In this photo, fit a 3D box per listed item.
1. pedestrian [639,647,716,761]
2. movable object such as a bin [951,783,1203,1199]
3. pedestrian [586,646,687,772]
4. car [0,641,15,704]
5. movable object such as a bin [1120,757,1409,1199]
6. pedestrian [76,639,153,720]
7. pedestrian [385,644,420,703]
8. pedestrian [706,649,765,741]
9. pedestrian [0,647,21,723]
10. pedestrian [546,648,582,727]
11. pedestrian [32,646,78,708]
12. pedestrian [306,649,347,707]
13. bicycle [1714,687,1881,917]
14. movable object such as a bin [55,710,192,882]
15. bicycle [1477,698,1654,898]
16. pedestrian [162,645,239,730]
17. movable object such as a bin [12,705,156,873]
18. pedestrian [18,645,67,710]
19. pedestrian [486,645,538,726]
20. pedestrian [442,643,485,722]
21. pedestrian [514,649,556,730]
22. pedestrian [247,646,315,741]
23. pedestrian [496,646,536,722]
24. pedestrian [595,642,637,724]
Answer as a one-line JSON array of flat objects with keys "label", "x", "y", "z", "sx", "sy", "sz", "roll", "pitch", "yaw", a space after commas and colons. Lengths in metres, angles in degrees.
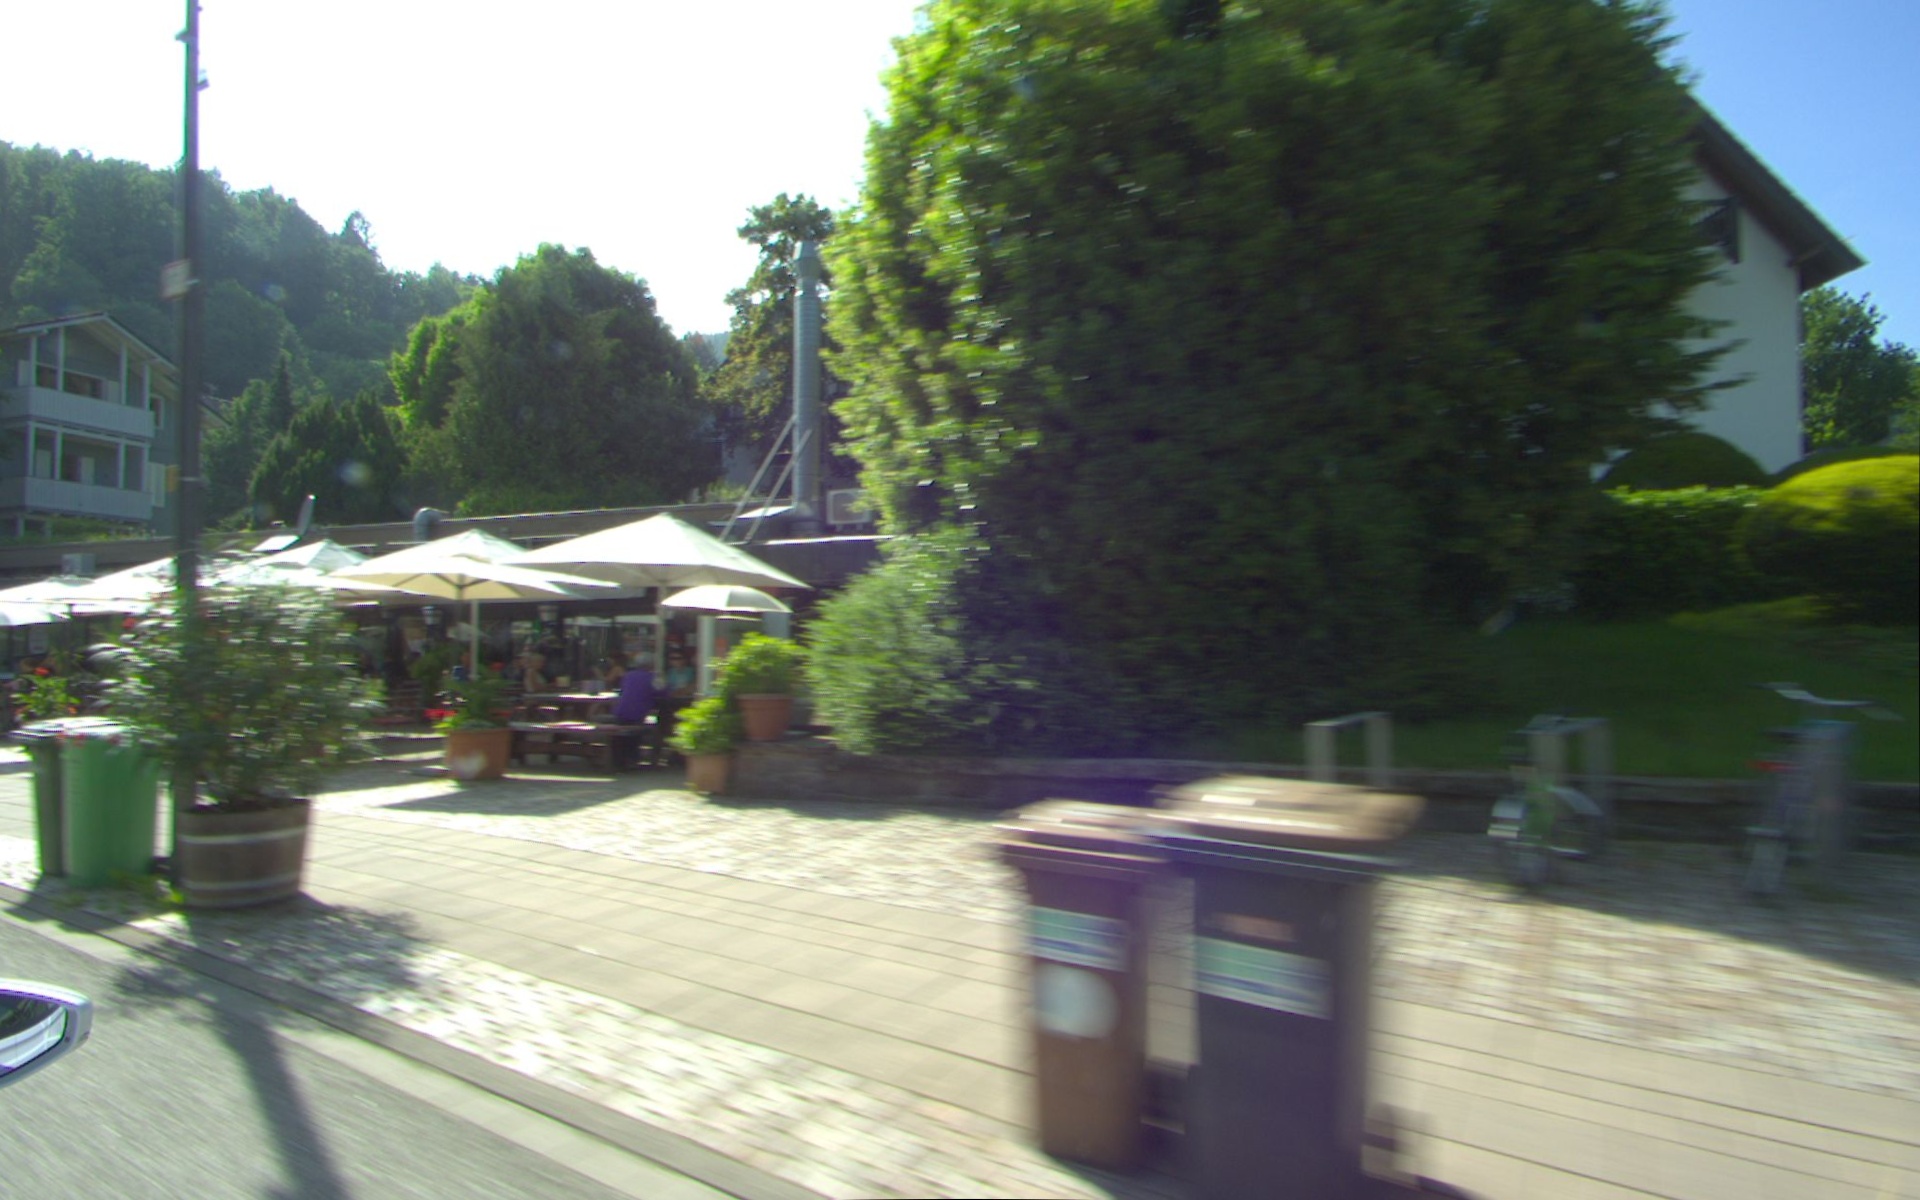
[{"label": "pedestrian", "x": -3.351, "y": 1.215, "z": 11.917, "sx": 0.634, "sy": 1.301, "sz": 0.649, "roll": 0, "pitch": 0, "yaw": 18}, {"label": "movable object such as a bin", "x": 0.346, "y": 1.050, "z": 2.883, "sx": 0.555, "sy": 0.924, "sz": 0.524, "roll": 0, "pitch": 0, "yaw": 32}, {"label": "pedestrian", "x": -3.546, "y": 1.167, "z": 11.029, "sx": 0.634, "sy": 1.301, "sz": 0.950, "roll": 0, "pitch": -1, "yaw": 17}, {"label": "car", "x": -22.954, "y": 1.585, "z": 21.007, "sx": 1.679, "sy": 1.396, "sz": 4.270, "roll": -1, "pitch": -2, "yaw": 20}, {"label": "movable object such as a bin", "x": 0.800, "y": 0.988, "z": 2.571, "sx": 0.563, "sy": 1.046, "sz": 0.655, "roll": 0, "pitch": 0, "yaw": 32}, {"label": "pedestrian", "x": -14.993, "y": 1.397, "z": 17.782, "sx": 0.797, "sy": 1.399, "sz": 0.700, "roll": 0, "pitch": -1, "yaw": -11}, {"label": "pedestrian", "x": -12.672, "y": 1.656, "z": 22.766, "sx": 0.678, "sy": 1.316, "sz": 0.634, "roll": 0, "pitch": -1, "yaw": -31}, {"label": "pedestrian", "x": -3.214, "y": 1.339, "z": 14.315, "sx": 0.691, "sy": 1.247, "sz": 0.505, "roll": -1, "pitch": 0, "yaw": 39}, {"label": "pedestrian", "x": -16.451, "y": 1.430, "z": 16.771, "sx": 0.687, "sy": 1.277, "sz": 0.812, "roll": 0, "pitch": -1, "yaw": 10}, {"label": "pedestrian", "x": -6.473, "y": 1.418, "z": 16.352, "sx": 0.464, "sy": 1.247, "sz": 0.389, "roll": 0, "pitch": 0, "yaw": -35}, {"label": "pedestrian", "x": -19.212, "y": 1.621, "z": 21.259, "sx": 0.694, "sy": 1.277, "sz": 0.804, "roll": 1, "pitch": -2, "yaw": -45}, {"label": "pedestrian", "x": -13.825, "y": 1.689, "z": 21.841, "sx": 0.680, "sy": 1.224, "sz": 0.695, "roll": 1, "pitch": -1, "yaw": -39}, {"label": "bicycle", "x": 4.573, "y": 1.028, "z": 5.435, "sx": 1.529, "sy": 0.996, "sz": 0.381, "roll": -1, "pitch": 0, "yaw": -38}, {"label": "movable object such as a bin", "x": -5.041, "y": 1.154, "z": 6.045, "sx": 0.435, "sy": 0.924, "sz": 0.513, "roll": 0, "pitch": -1, "yaw": 29}, {"label": "bicycle", "x": 3.617, "y": 1.113, "z": 5.935, "sx": 1.529, "sy": 0.921, "sz": 0.381, "roll": -1, "pitch": 1, "yaw": -38}, {"label": "pedestrian", "x": -11.846, "y": 1.340, "z": 15.623, "sx": 0.692, "sy": 1.277, "sz": 0.807, "roll": -1, "pitch": -1, "yaw": 38}, {"label": "movable object such as a bin", "x": -5.523, "y": 1.161, "z": 6.321, "sx": 0.512, "sy": 0.938, "sz": 0.547, "roll": 0, "pitch": -1, "yaw": 30}, {"label": "pedestrian", "x": -18.536, "y": 1.550, "z": 20.232, "sx": 0.694, "sy": 1.277, "sz": 0.804, "roll": 1, "pitch": -2, "yaw": -45}, {"label": "pedestrian", "x": -7.543, "y": 1.426, "z": 16.855, "sx": 0.598, "sy": 1.321, "sz": 0.530, "roll": 0, "pitch": 0, "yaw": 16}, {"label": "pedestrian", "x": -8.664, "y": 1.425, "z": 17.485, "sx": 0.570, "sy": 1.321, "sz": 0.637, "roll": 0, "pitch": 0, "yaw": -17}, {"label": "pedestrian", "x": -6.898, "y": 1.439, "z": 16.265, "sx": 0.432, "sy": 1.282, "sz": 0.469, "roll": 0, "pitch": 0, "yaw": 16}, {"label": "pedestrian", "x": -9.264, "y": 1.267, "z": 13.671, "sx": 0.582, "sy": 1.261, "sz": 0.473, "roll": -1, "pitch": 0, "yaw": 3}, {"label": "pedestrian", "x": -7.878, "y": 1.471, "z": 17.787, "sx": 0.570, "sy": 1.299, "sz": 0.637, "roll": 0, "pitch": 0, "yaw": -17}, {"label": "pedestrian", "x": -5.520, "y": 1.322, "z": 16.079, "sx": 0.501, "sy": 1.284, "sz": 0.407, "roll": 0, "pitch": 0, "yaw": 30}]
